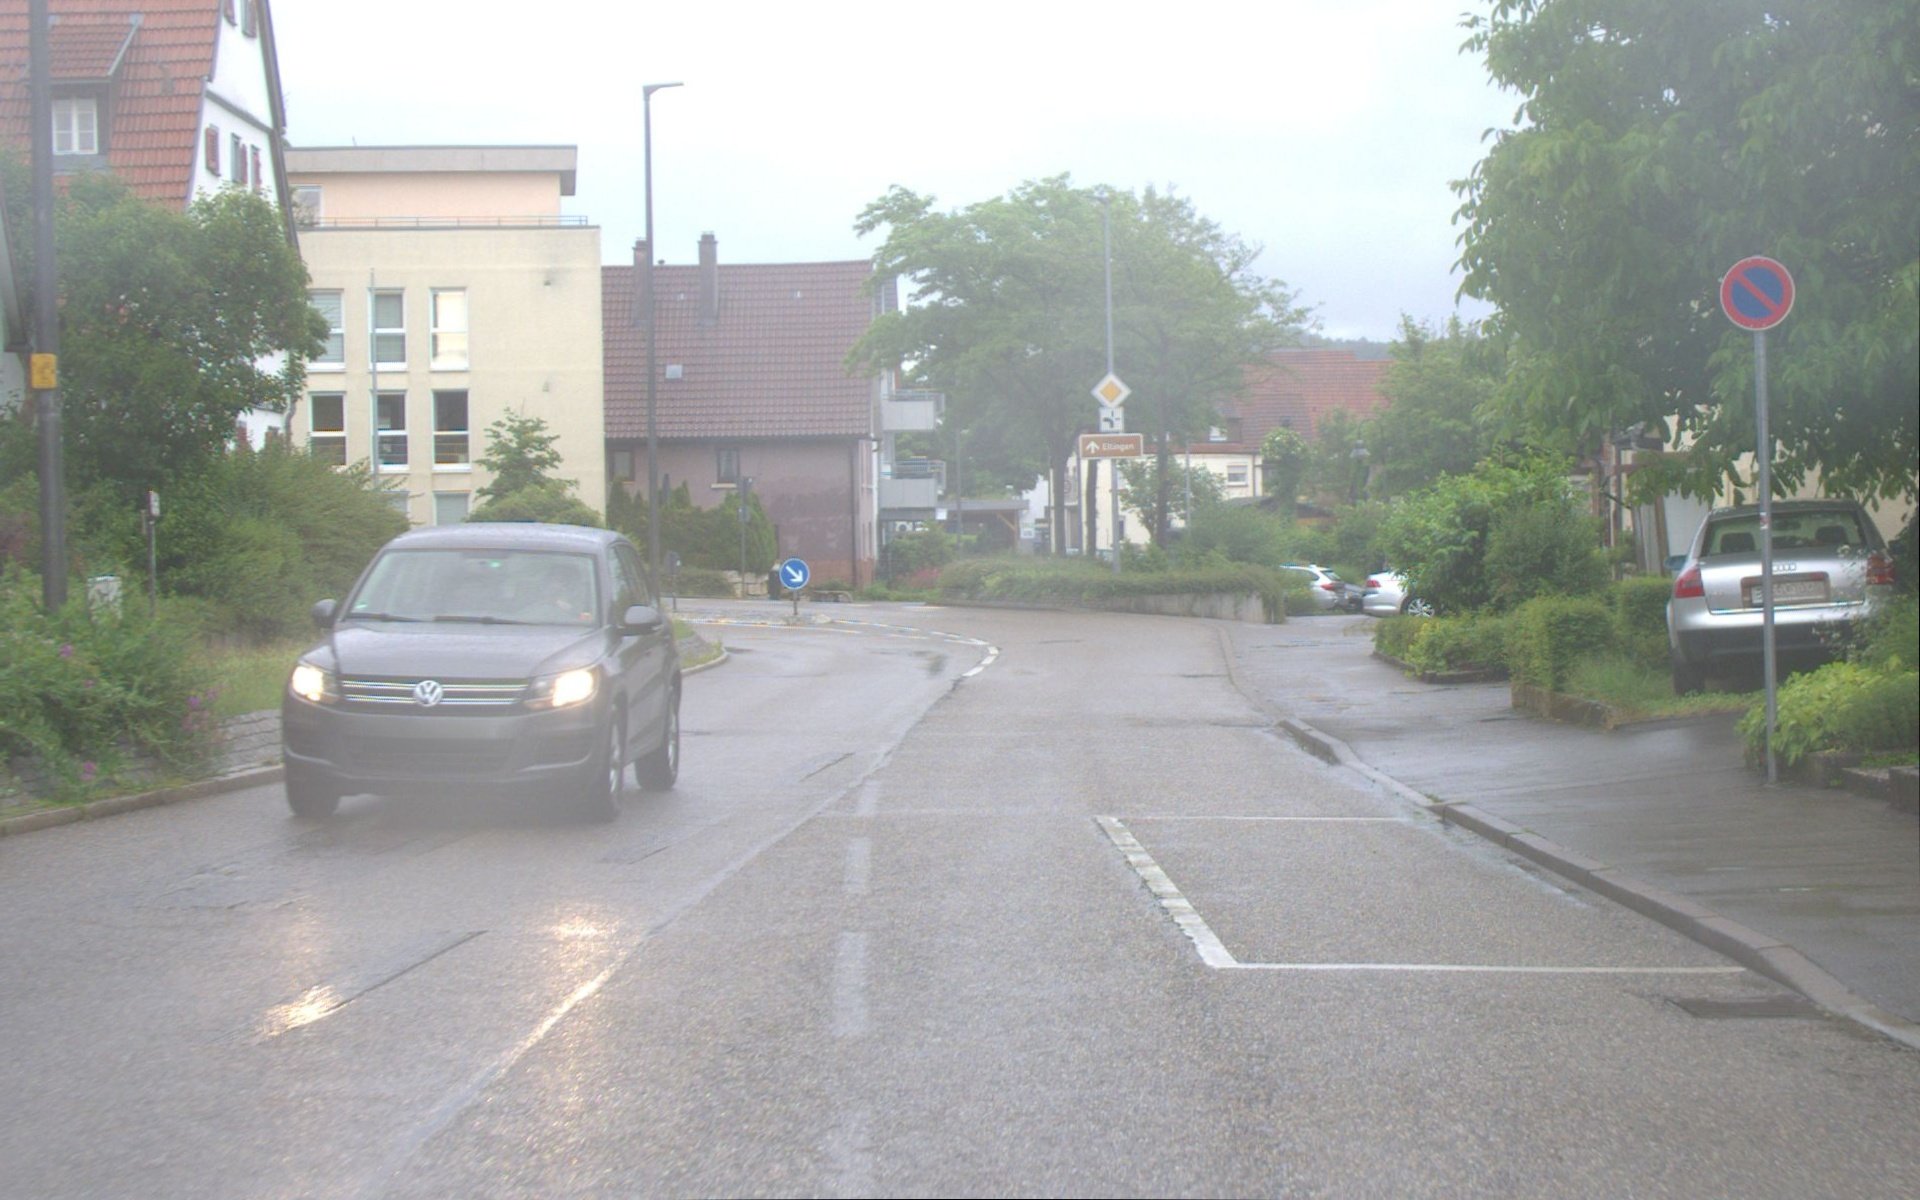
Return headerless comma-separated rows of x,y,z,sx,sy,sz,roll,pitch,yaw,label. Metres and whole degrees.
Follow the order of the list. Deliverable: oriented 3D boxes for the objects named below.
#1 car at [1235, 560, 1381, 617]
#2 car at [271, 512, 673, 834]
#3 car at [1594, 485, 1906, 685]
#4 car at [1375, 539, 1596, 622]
10.252,-0.345,101.278,3.990,1.621,1.999,-1,1,15,car
-2.682,0.352,19.733,1.798,1.634,4.000,-1,1,-1,car
6.049,-0.135,26.695,1.638,1.425,3.677,-1,1,1,car
9.792,-0.363,63.929,3.955,1.404,1.999,-2,0,10,car
